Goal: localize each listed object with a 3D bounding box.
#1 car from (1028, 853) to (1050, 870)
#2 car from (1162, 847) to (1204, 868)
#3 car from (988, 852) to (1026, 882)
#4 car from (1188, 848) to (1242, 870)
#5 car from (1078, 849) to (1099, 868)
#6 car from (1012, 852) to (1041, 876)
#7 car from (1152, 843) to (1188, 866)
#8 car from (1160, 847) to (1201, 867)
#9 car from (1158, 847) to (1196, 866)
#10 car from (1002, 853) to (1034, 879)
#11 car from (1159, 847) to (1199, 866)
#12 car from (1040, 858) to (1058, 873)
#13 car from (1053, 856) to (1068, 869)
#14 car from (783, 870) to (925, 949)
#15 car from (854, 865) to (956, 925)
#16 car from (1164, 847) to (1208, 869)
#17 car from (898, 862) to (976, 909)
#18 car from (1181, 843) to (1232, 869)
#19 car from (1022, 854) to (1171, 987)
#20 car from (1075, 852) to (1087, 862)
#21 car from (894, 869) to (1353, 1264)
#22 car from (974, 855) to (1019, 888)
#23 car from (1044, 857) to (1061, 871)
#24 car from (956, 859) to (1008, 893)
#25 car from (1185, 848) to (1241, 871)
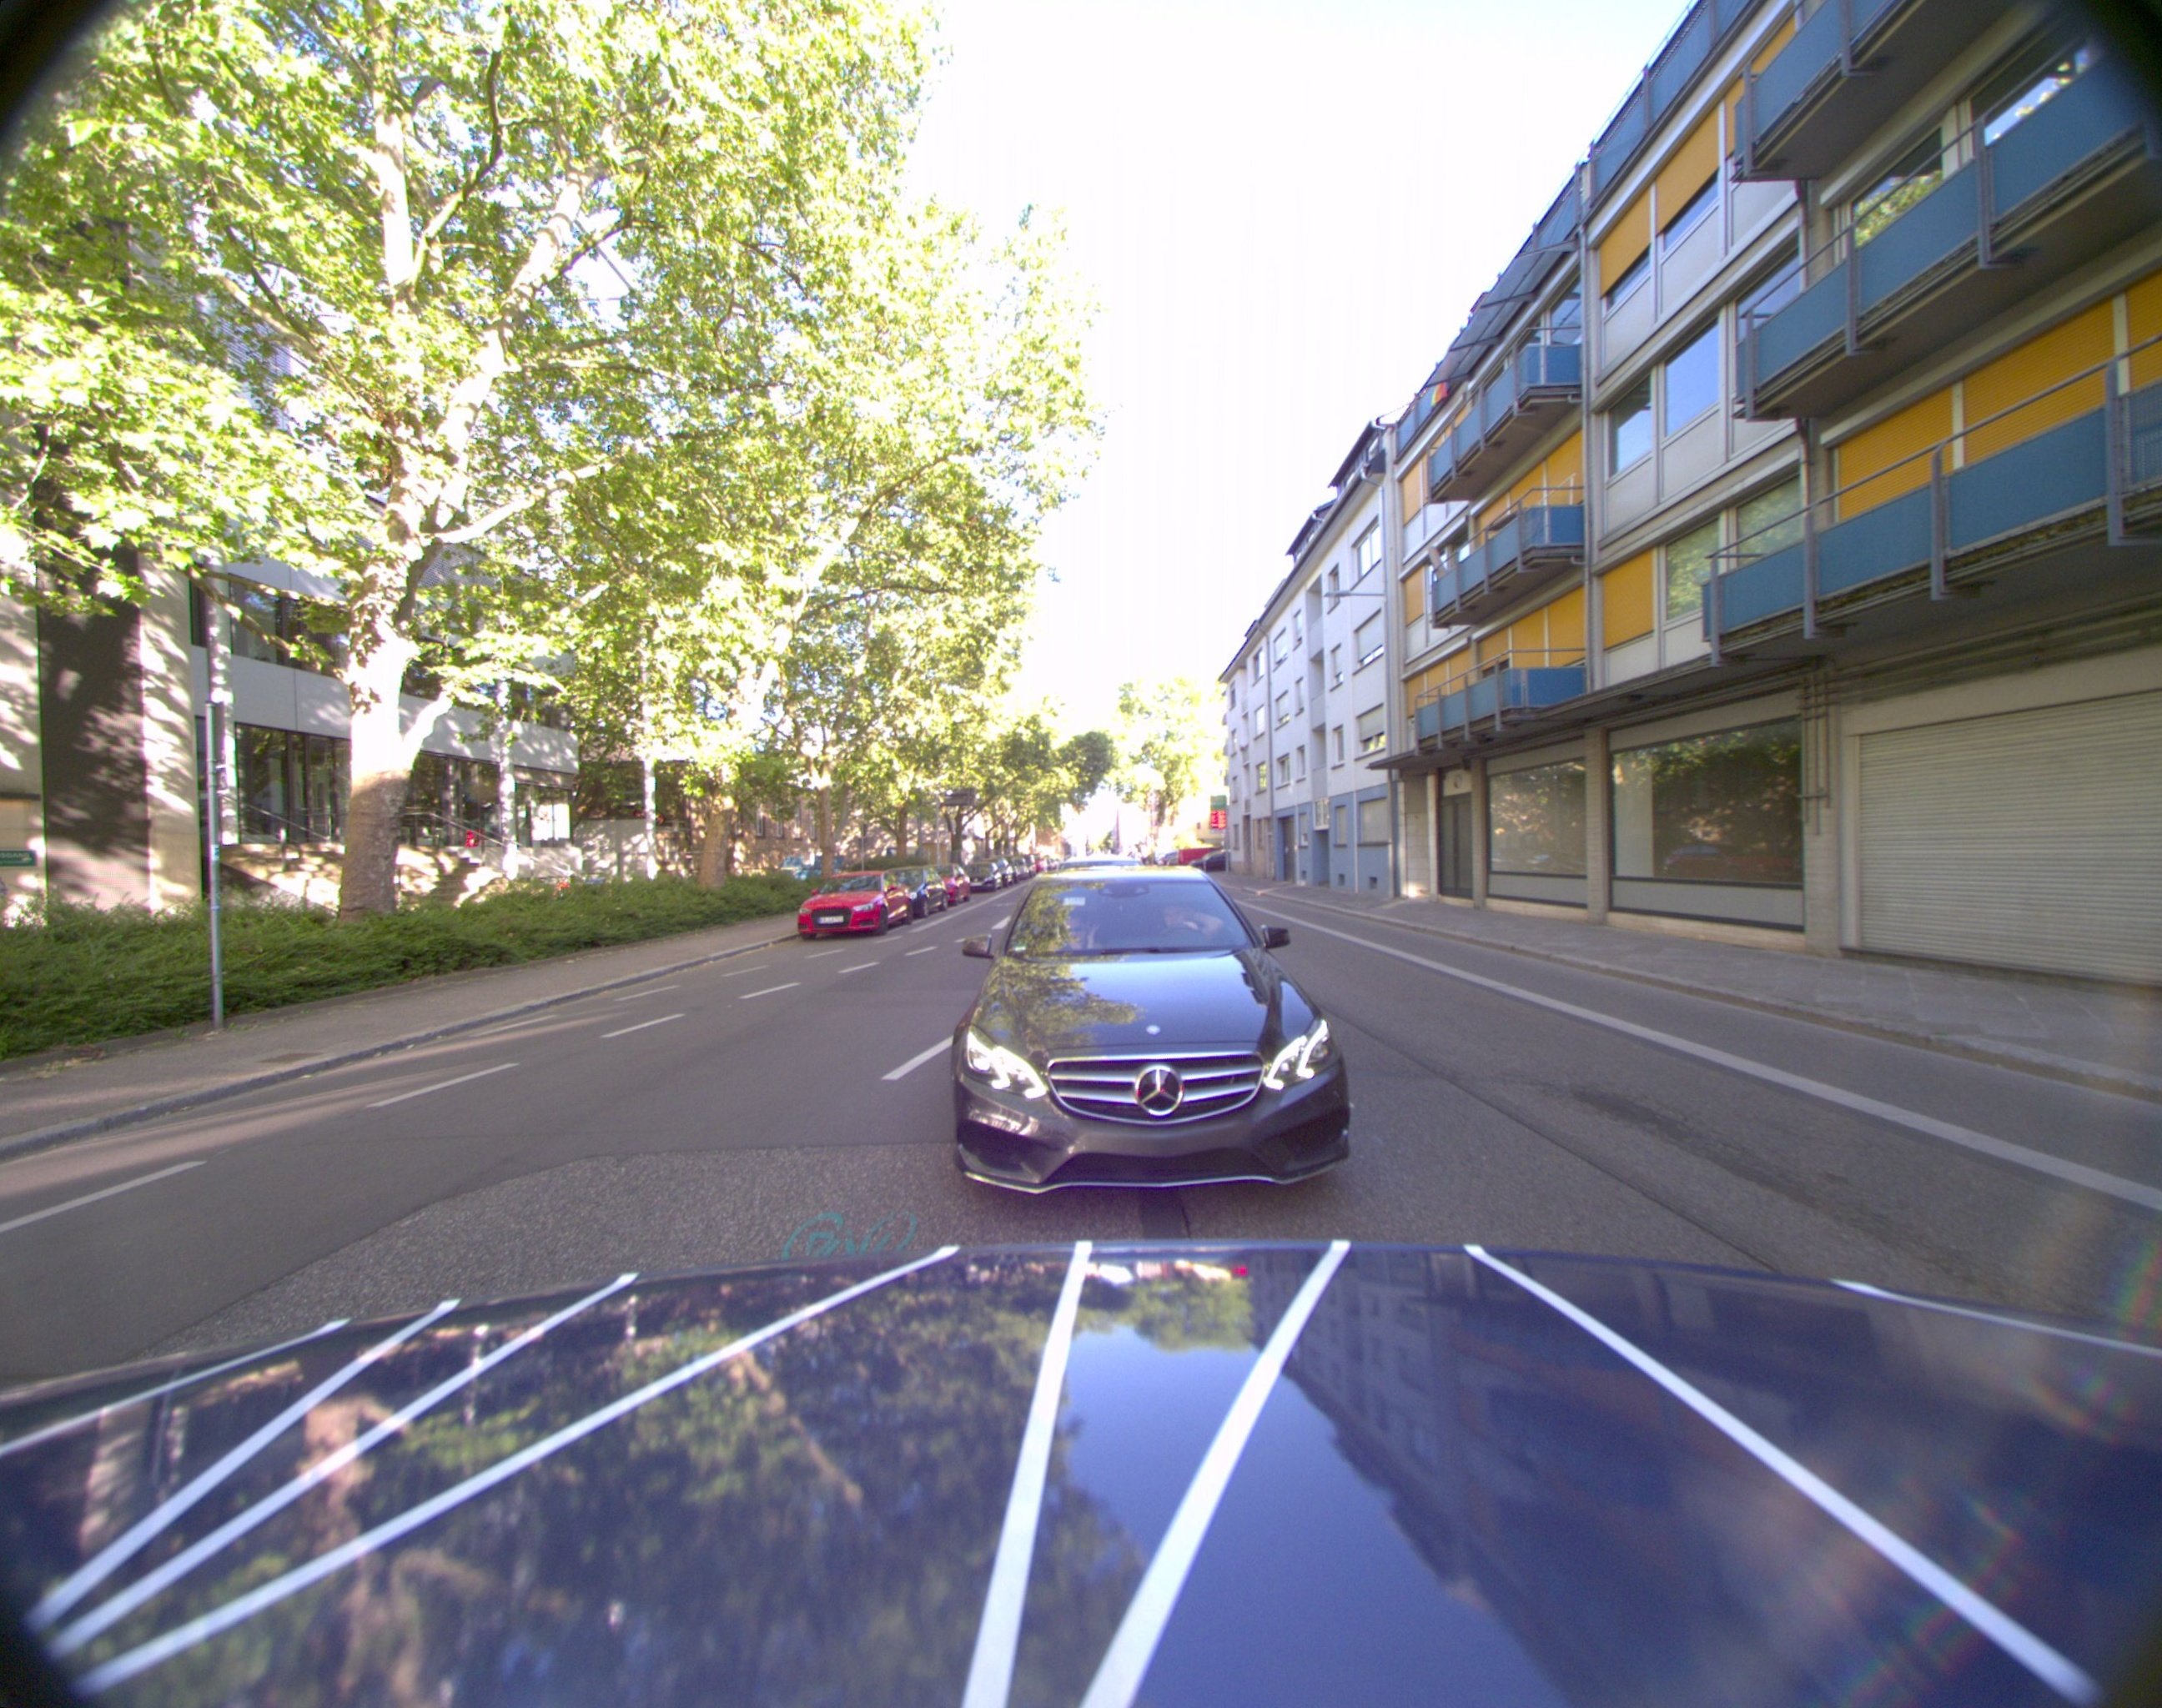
[{"bbox_3d":[-4.192,0.709,76.282,1.866,1.632,4.481,-2,0,1],"label":"car"},{"bbox_3d":[10.339,0.348,77.149,3.996,1.936,2.000,-2,1,2],"label":"car"},{"bbox_3d":[-4.627,0.787,48.137,1.866,1.749,4.481,-2,0,1],"label":"car"},{"bbox_3d":[10.722,0.380,61.196,3.996,1.543,2.000,-2,1,2],"label":"car"},{"bbox_3d":[0.700,0.429,70.103,1.866,1.632,4.481,-2,0,1],"label":"car"},{"bbox_3d":[-4.239,0.760,59.759,1.866,1.749,4.481,-2,0,1],"label":"car"},{"bbox_3d":[10.497,0.008,89.510,3.996,2.505,2.000,-2,1,2],"label":"car"},{"bbox_3d":[10.468,0.312,80.000,3.996,1.936,2.000,-2,1,2],"label":"car"},{"bbox_3d":[10.743,0.246,84.983,3.996,1.936,2.000,-2,1,2],"label":"car"},{"bbox_3d":[-4.496,0.822,54.803,1.866,1.749,4.481,-2,0,1],"label":"car"},{"bbox_3d":[10.597,0.279,82.489,3.996,1.936,2.000,-2,1,2],"label":"car"},{"bbox_3d":[-3.757,1.326,89.988,1.866,1.632,4.481,-2,0,1],"label":"car"},{"bbox_3d":[-2.815,1.118,105.194,1.866,1.632,4.481,-2,0,1],"label":"car"},{"bbox_3d":[-5.099,1.179,17.734,1.866,1.442,4.481,-2,0,1],"label":"car"},{"bbox_3d":[-5.038,1.126,22.385,1.866,1.442,4.481,-2,0,1],"label":"car"},{"bbox_3d":[10.255,0.381,74.508,3.996,1.936,2.000,-2,1,2],"label":"car"},{"bbox_3d":[-5.082,1.067,27.429,1.866,1.442,4.481,-2,0,1],"label":"car"},{"bbox_3d":[10.555,0.158,64.027,3.996,1.936,2.000,-2,1,2],"label":"car"},{"bbox_3d":[0.229,0.859,11.933,1.866,1.630,4.303,-2,0,1],"label":"car"},{"bbox_3d":[-0.045,0.477,126.309,1.866,1.632,4.481,-2,0,1],"label":"car"},{"bbox_3d":[0.209,0.933,5.410,1.866,1.492,4.481,-2,0,1],"label":"car"},{"bbox_3d":[-4.615,0.910,42.210,1.866,1.658,4.481,-2,0,1],"label":"car"},{"bbox_3d":[-3.647,1.242,96.787,1.866,1.632,4.481,-2,0,1],"label":"car"},{"bbox_3d":[-4.750,1.027,37.175,1.866,1.442,4.481,-2,0,1],"label":"car"},{"bbox_3d":[10.181,0.426,58.874,3.996,1.543,2.000,-2,1,2],"label":"car"}]
